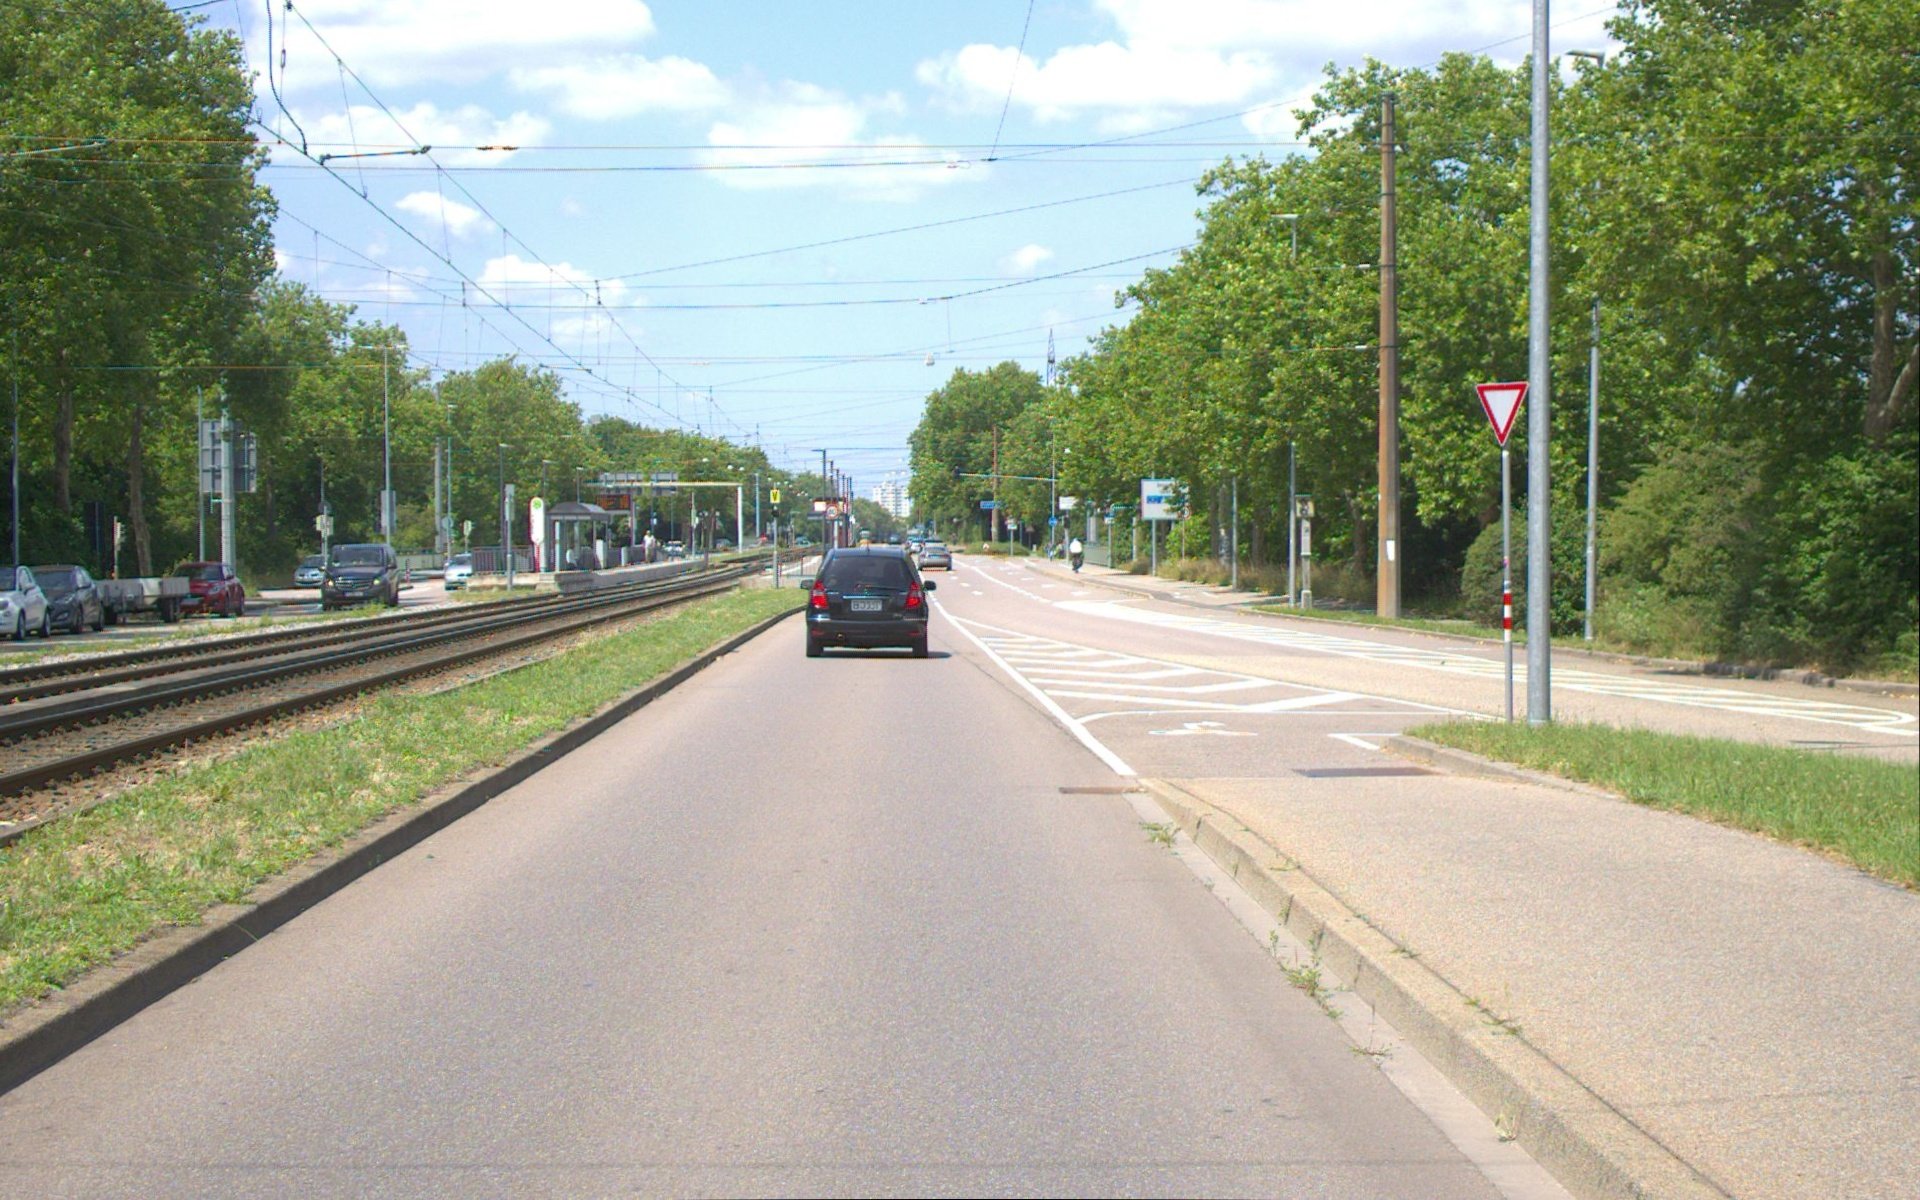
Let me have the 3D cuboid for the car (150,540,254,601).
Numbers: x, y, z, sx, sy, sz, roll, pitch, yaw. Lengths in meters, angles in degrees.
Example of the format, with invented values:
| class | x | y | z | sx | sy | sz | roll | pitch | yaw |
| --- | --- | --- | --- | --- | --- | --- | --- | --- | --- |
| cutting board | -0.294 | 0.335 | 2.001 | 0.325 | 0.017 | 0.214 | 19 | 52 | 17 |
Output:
| class | x | y | z | sx | sy | sz | roll | pitch | yaw |
| --- | --- | --- | --- | --- | --- | --- | --- | --- | --- |
| car | -20.267 | -0.801 | 92.080 | 1.993 | 1.568 | 4.000 | 0 | 1 | -2 |

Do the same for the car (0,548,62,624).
| class | x | y | z | sx | sy | sz | roll | pitch | yaw |
| --- | --- | --- | --- | --- | --- | --- | --- | --- | --- |
| car | -18.940 | -0.294 | 68.253 | 1.433 | 1.446 | 3.741 | 0 | 1 | -3 |

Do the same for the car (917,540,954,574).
| class | x | y | z | sx | sy | sz | roll | pitch | yaw |
| --- | --- | --- | --- | --- | --- | --- | --- | --- | --- |
| car | -1.329 | -2.346 | 188.013 | 1.885 | 1.634 | 4.001 | 3 | 2 | 0 |

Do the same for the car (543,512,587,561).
| class | x | y | z | sx | sy | sz | roll | pitch | yaw |
| --- | --- | --- | --- | --- | --- | --- | --- | --- | --- |
| car | -16.915 | -2.739 | 147.308 | 1.585 | 2.006 | 4.111 | 1 | 2 | -3 |

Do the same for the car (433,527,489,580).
| class | x | y | z | sx | sy | sz | roll | pitch | yaw |
| --- | --- | --- | --- | --- | --- | --- | --- | --- | --- |
| car | -20.063 | -1.876 | 138.353 | 1.993 | 2.006 | 4.001 | 1 | 2 | -5 |

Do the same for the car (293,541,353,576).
| class | x | y | z | sx | sy | sz | roll | pitch | yaw |
| --- | --- | --- | --- | --- | --- | --- | --- | --- | --- |
| car | -28.809 | -1.897 | 155.531 | 1.993 | 1.568 | 4.000 | 0 | 1 | -1 |

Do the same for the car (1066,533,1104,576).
| class | x | y | z | sx | sy | sz | roll | pitch | yaw |
| --- | --- | --- | --- | --- | --- | --- | --- | --- | --- |
| car | 6.130 | -2.253 | 168.597 | 1.612 | 2.006 | 3.440 | 1 | 2 | -2 |

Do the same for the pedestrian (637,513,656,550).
| class | x | y | z | sx | sy | sz | roll | pitch | yaw |
| --- | --- | --- | --- | --- | --- | --- | --- | --- | --- |
| pedestrian | -17.081 | -3.744 | 187.415 | 0.952 | 2.006 | 0.892 | 1 | 2 | -1 |

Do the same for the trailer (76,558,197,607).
| class | x | y | z | sx | sy | sz | roll | pitch | yaw |
| --- | --- | --- | --- | --- | --- | --- | --- | --- | --- |
| trailer | -19.834 | -0.434 | 82.959 | 1.892 | 1.040 | 5.104 | 1 | 1 | -2 |

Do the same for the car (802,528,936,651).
| class | x | y | z | sx | sy | sz | roll | pitch | yaw |
| --- | --- | --- | --- | --- | --- | --- | --- | --- | --- |
| car | -1.298 | -0.192 | 50.634 | 1.853 | 1.564 | 4.389 | 1 | 3 | 0 |

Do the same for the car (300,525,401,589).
| class | x | y | z | sx | sy | sz | roll | pitch | yaw |
| --- | --- | --- | --- | --- | --- | --- | --- | --- | --- |
| car | -17.614 | -1.268 | 99.583 | 2.117 | 1.784 | 5.406 | 0 | 1 | -2 |

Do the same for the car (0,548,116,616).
| class | x | y | z | sx | sy | sz | roll | pitch | yaw |
| --- | --- | --- | --- | --- | --- | --- | --- | --- | --- |
| car | -19.460 | -0.404 | 73.700 | 1.870 | 1.396 | 4.419 | 0 | 1 | -3 |
